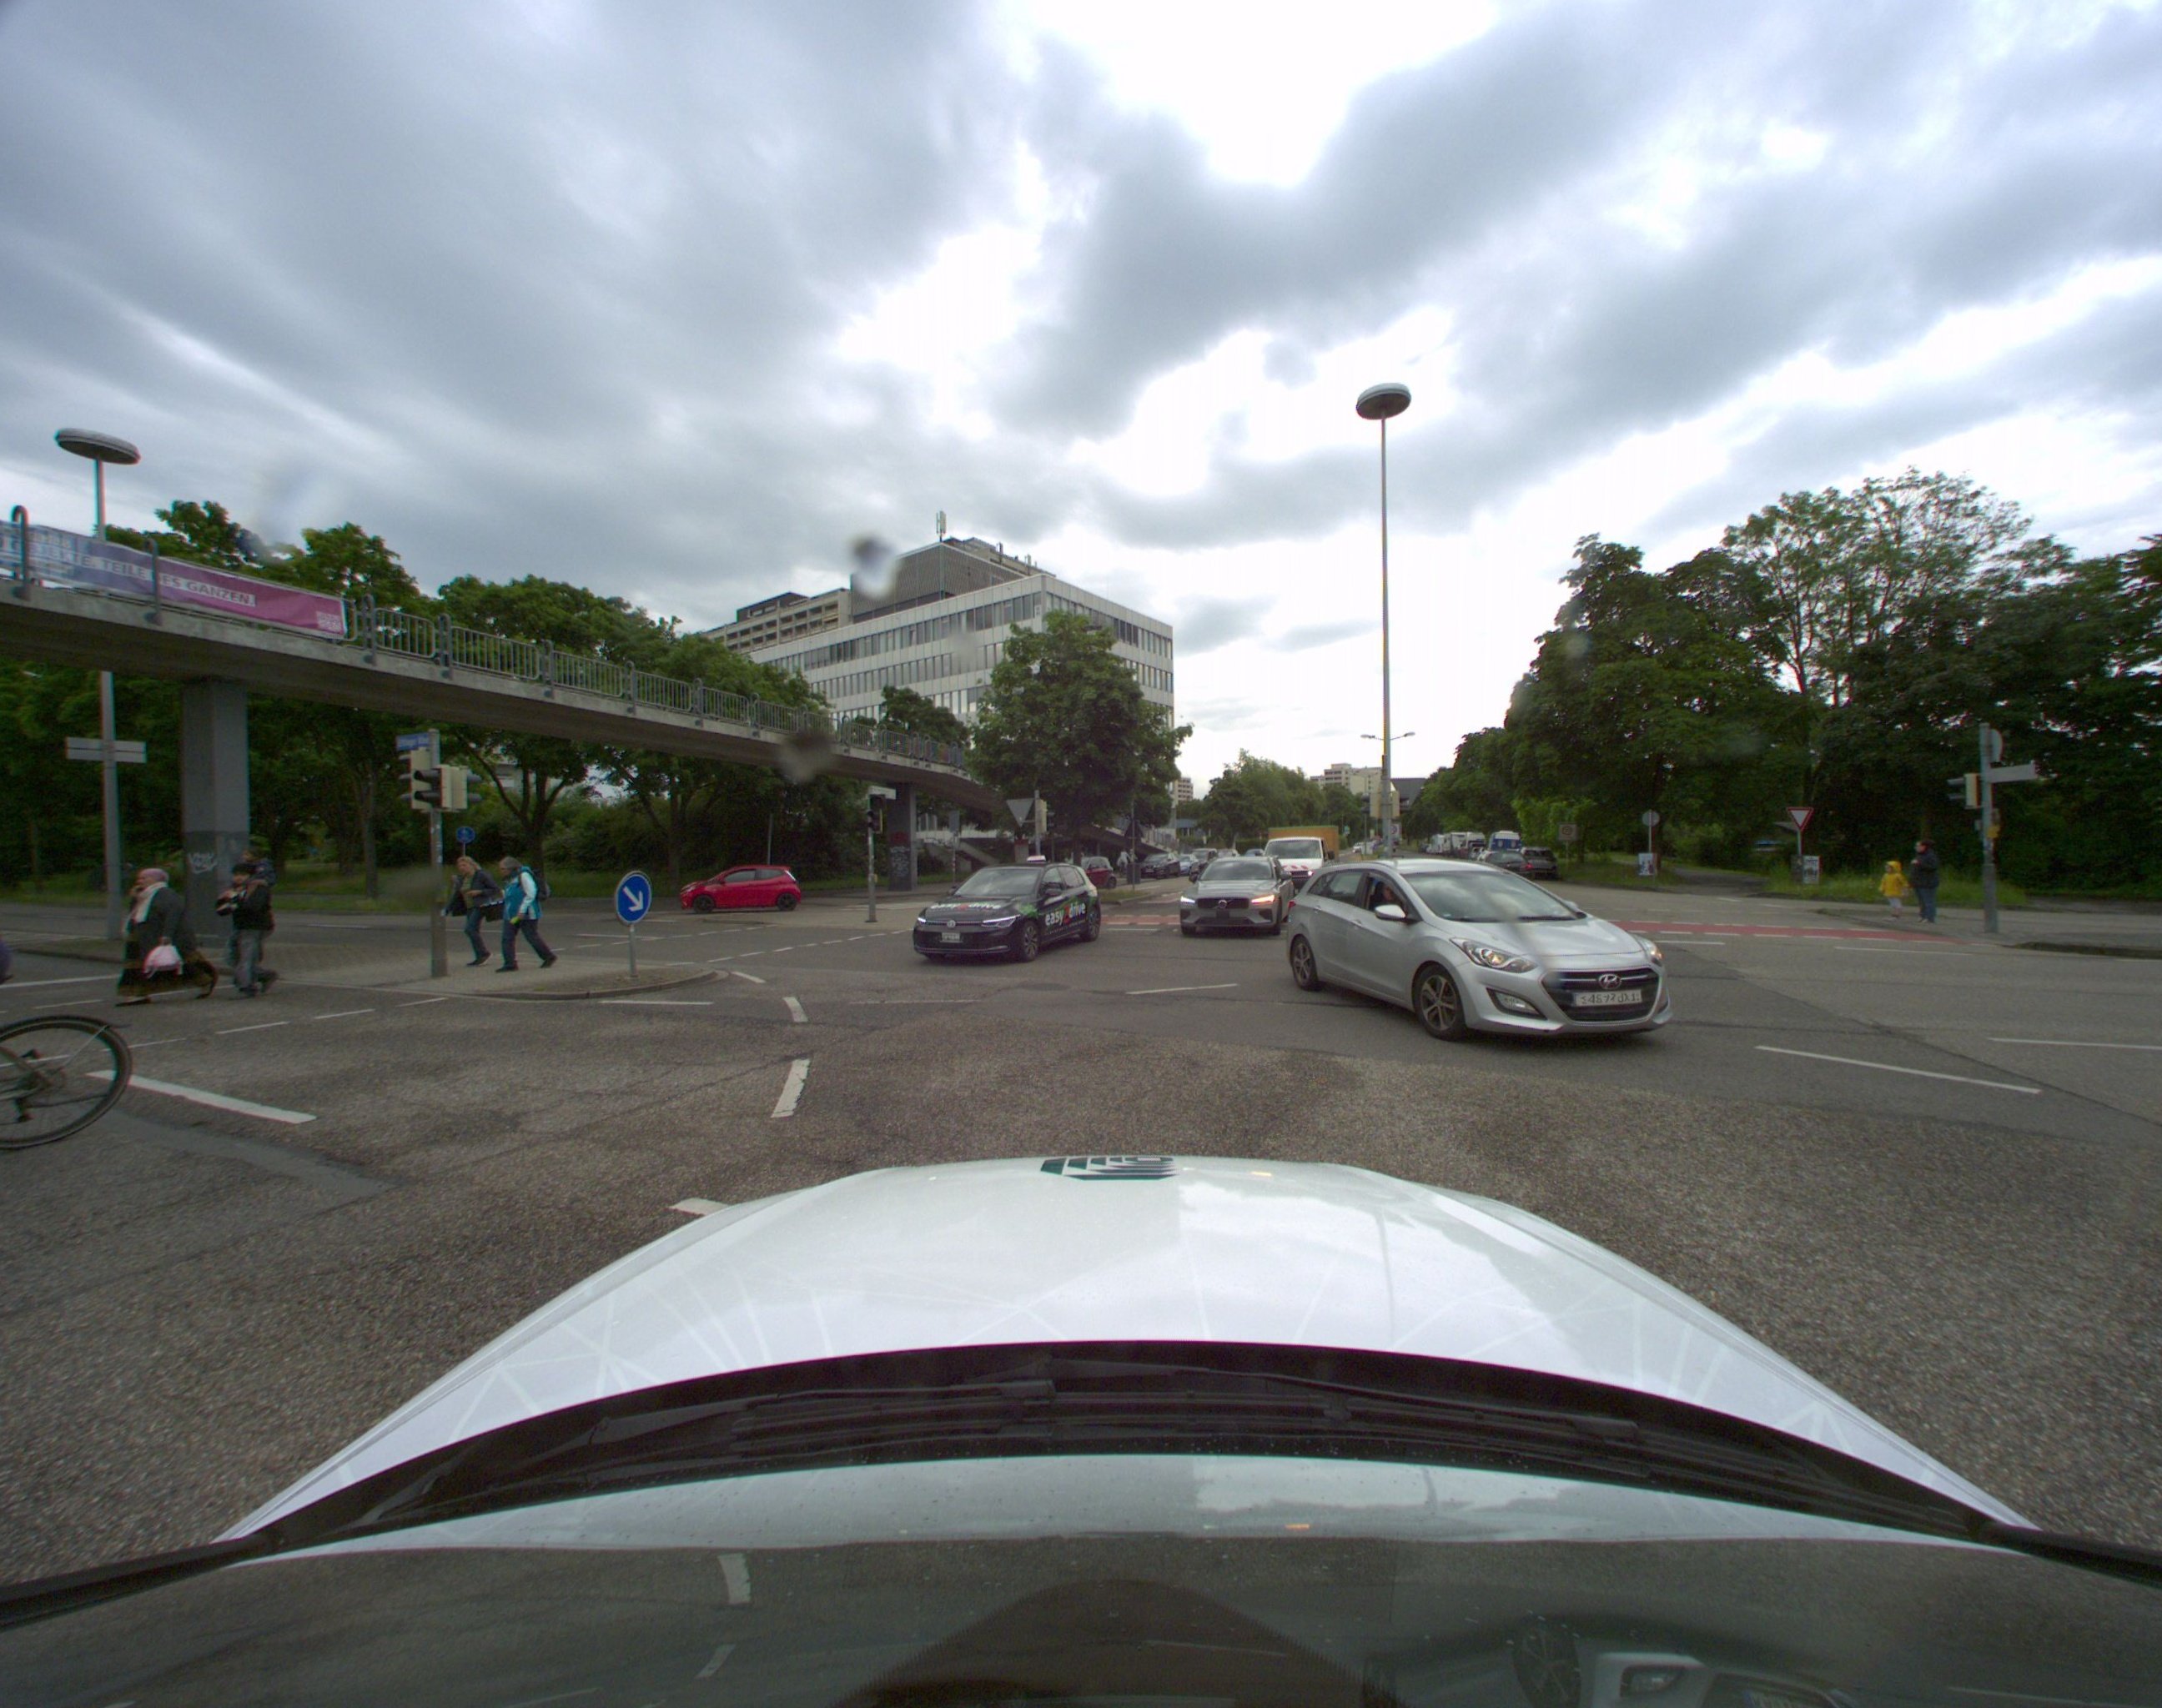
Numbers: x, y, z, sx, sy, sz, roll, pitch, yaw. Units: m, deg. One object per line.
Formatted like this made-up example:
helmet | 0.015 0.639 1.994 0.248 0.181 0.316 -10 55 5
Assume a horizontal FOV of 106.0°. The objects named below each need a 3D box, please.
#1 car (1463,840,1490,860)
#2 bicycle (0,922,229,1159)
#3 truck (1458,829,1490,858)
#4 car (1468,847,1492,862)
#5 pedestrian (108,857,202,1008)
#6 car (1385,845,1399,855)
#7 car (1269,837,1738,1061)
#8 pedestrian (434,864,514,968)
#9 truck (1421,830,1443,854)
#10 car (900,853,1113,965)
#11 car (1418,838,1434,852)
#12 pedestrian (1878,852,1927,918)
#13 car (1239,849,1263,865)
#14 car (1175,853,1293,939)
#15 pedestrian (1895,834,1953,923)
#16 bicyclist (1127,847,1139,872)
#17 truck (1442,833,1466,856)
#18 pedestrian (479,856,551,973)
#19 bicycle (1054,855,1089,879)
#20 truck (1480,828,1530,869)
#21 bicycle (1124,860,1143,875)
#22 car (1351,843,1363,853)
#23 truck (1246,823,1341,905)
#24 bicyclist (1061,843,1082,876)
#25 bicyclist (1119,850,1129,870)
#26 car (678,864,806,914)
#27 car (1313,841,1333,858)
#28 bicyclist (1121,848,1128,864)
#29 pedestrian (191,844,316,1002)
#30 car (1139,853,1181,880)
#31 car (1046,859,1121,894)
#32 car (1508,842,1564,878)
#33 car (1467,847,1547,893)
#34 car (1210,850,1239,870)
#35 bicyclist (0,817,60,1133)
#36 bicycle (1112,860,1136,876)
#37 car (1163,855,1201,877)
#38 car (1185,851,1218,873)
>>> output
car | 36.230 -0.340 74.650 1.706 1.759 4.019 -1 0 18
bicycle | -5.880 0.994 3.962 0.720 1.101 2.275 -1 1 20
truck | 40.204 -1.070 83.430 1.978 2.838 5.756 -1 0 16
car | 34.664 0.048 70.796 1.313 1.191 3.670 -1 0 18
pedestrian | -10.665 0.893 9.386 0.615 1.691 0.406 -1 0 6
car | 50.744 -0.704 132.866 2.003 1.505 4.020 -1 1 20
car | 3.534 0.688 7.906 1.789 1.519 4.310 -1 -1 -10
pedestrian | -9.041 0.918 12.140 0.912 1.511 0.405 -1 0 9
truck | 45.620 -1.578 105.894 1.978 3.009 5.797 -1 0 17
car | -1.002 0.755 13.454 1.755 1.477 4.412 -1 0 20
car | 51.262 -1.346 121.078 1.639 1.918 3.936 -1 1 16
pedestrian | 16.969 0.634 16.830 0.522 1.342 0.527 -1 0 19
car | 16.676 0.269 79.772 1.657 1.552 4.021 -1 0 20
car | 3.249 0.732 16.519 1.882 1.420 4.756 -1 0 16
pedestrian | 16.778 0.476 16.222 0.651 1.750 0.461 -1 0 19
bicyclist | 3.454 0.377 54.111 0.559 1.644 0.535 -1 0 31
truck | 43.534 -1.090 95.125 1.978 2.572 5.403 -1 0 18
pedestrian | -8.037 0.841 11.578 0.682 1.604 0.490 -1 0 15
bicycle | -0.515 0.737 47.512 0.848 1.315 3.247 -1 1 22
truck | 29.110 -0.354 56.073 2.156 2.656 6.277 -2 0 20
bicycle | 3.498 0.877 54.255 0.521 0.949 1.720 -1 0 30
car | 44.367 -0.948 130.777 1.630 1.593 4.021 -1 0 21
truck | 6.644 0.237 24.926 2.137 2.199 5.871 -1 1 21
bicyclist | -0.546 0.331 47.489 0.848 1.892 1.134 -1 1 22
bicyclist | 2.653 0.366 50.239 0.401 1.181 0.379 6 3 21
car | -10.375 1.032 25.069 3.537 1.390 1.505 -1 0 -24
car | 29.665 -0.581 99.809 1.976 2.013 4.021 -1 0 21
bicyclist | 3.296 0.176 61.835 0.427 1.217 0.570 -1 -1 19
pedestrian | -9.894 0.786 9.766 0.633 1.803 0.804 -1 0 11
car | 4.950 0.774 50.723 1.657 1.552 3.912 -1 1 20
car | 0.139 0.916 34.052 1.543 1.346 2.991 -1 0 40
car | 22.567 0.252 40.484 1.769 1.662 4.020 -1 1 20
car | 14.877 0.493 28.678 1.783 1.457 4.563 -1 1 19
car | 11.922 0.473 67.509 1.657 1.552 4.021 -1 0 20
bicyclist | -5.842 0.617 4.092 0.673 1.594 0.698 -1 0 19
bicycle | 2.678 0.853 50.607 0.755 0.949 1.965 -1 0 26
car | 6.962 0.772 55.869 1.657 1.387 3.915 -1 1 20
car | 9.061 0.548 60.804 1.657 1.552 3.781 -1 1 20
